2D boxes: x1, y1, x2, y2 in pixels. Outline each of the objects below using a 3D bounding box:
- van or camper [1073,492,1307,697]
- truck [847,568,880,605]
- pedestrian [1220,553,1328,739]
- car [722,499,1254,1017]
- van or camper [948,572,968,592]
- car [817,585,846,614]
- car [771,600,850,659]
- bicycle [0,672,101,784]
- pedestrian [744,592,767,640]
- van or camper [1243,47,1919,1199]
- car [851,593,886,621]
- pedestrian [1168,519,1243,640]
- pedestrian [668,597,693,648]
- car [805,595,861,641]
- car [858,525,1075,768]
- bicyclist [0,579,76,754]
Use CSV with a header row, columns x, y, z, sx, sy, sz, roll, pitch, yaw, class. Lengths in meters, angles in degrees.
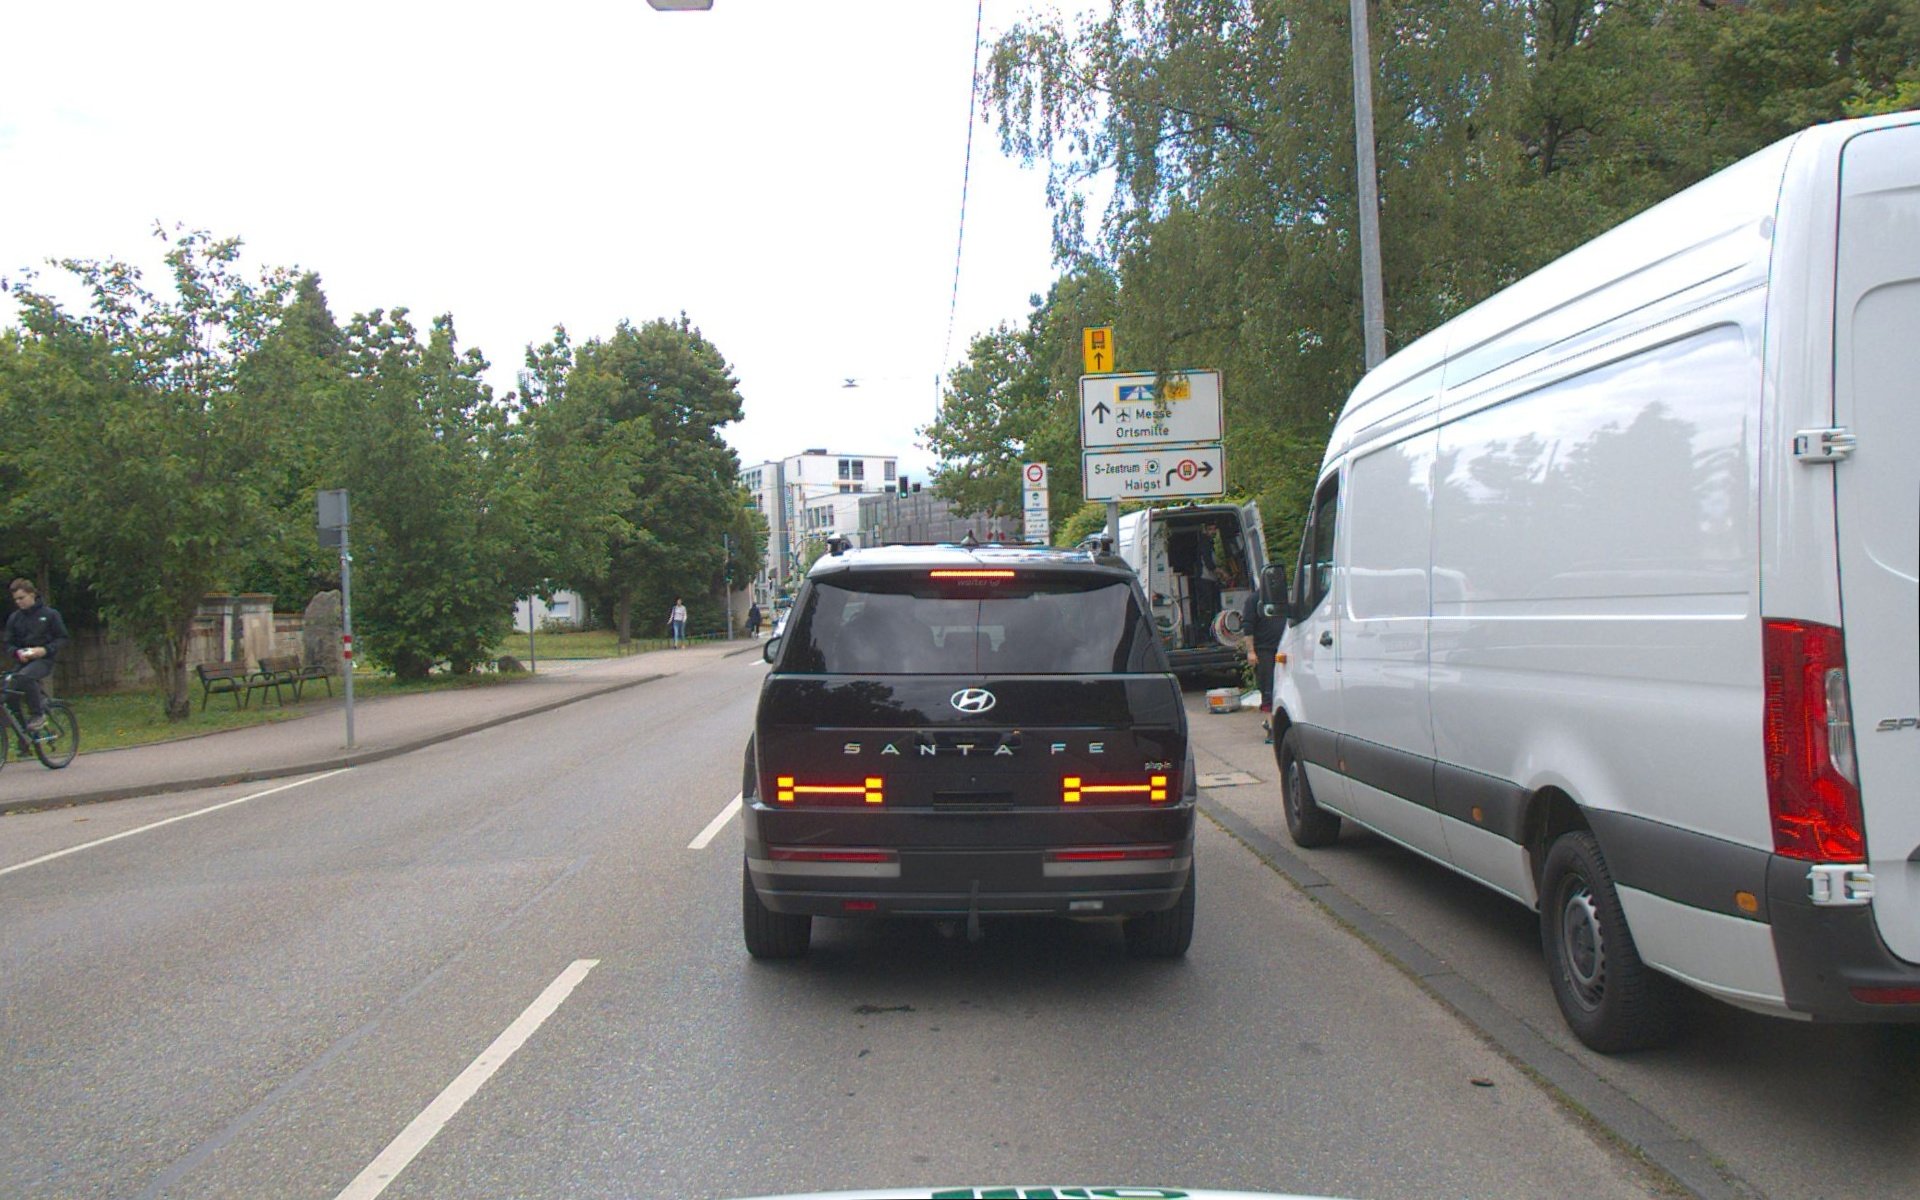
x,y,z,sx,sy,sz,roll,pitch,yaw,class
3.291,-0.025,25.314,2.294,2.537,6.600,-5,-1,-2,van or camper
-10.948,-1.447,186.874,3.048,3.926,9.607,-2,0,-7,truck
3.033,0.441,16.023,0.775,1.751,0.750,1,-1,-12,pedestrian
0.076,0.571,7.861,1.858,1.807,3.993,1,0,-1,car
-0.211,-1.900,172.500,1.760,2.033,3.820,1,0,-4,van or camper
-11.222,-0.020,144.055,2.288,2.356,4.950,-2,0,-7,car
-4.050,0.772,45.388,1.721,1.427,4.413,-4,0,-1,car
-9.257,1.243,16.488,0.485,0.981,1.748,1,0,-1,bicycle
-8.920,0.698,72.339,0.812,2.049,1.047,1,-1,1,pedestrian
2.883,0.033,7.033,1.951,2.670,6.543,-5,0,-1,van or camper
-5.401,0.417,98.051,1.778,1.443,4.827,-5,0,-1,car
3.538,-0.295,23.843,0.783,1.672,0.738,-3,-1,29,pedestrian
-9.839,0.789,58.143,0.752,1.779,0.904,0,0,-3,pedestrian
-4.531,0.628,59.531,1.667,1.509,3.999,-4,0,-1,car
0.031,0.413,16.382,1.858,2.077,3.993,1,0,-1,car
-9.246,0.651,16.528,0.477,1.713,0.588,1,-1,-1,bicyclist
